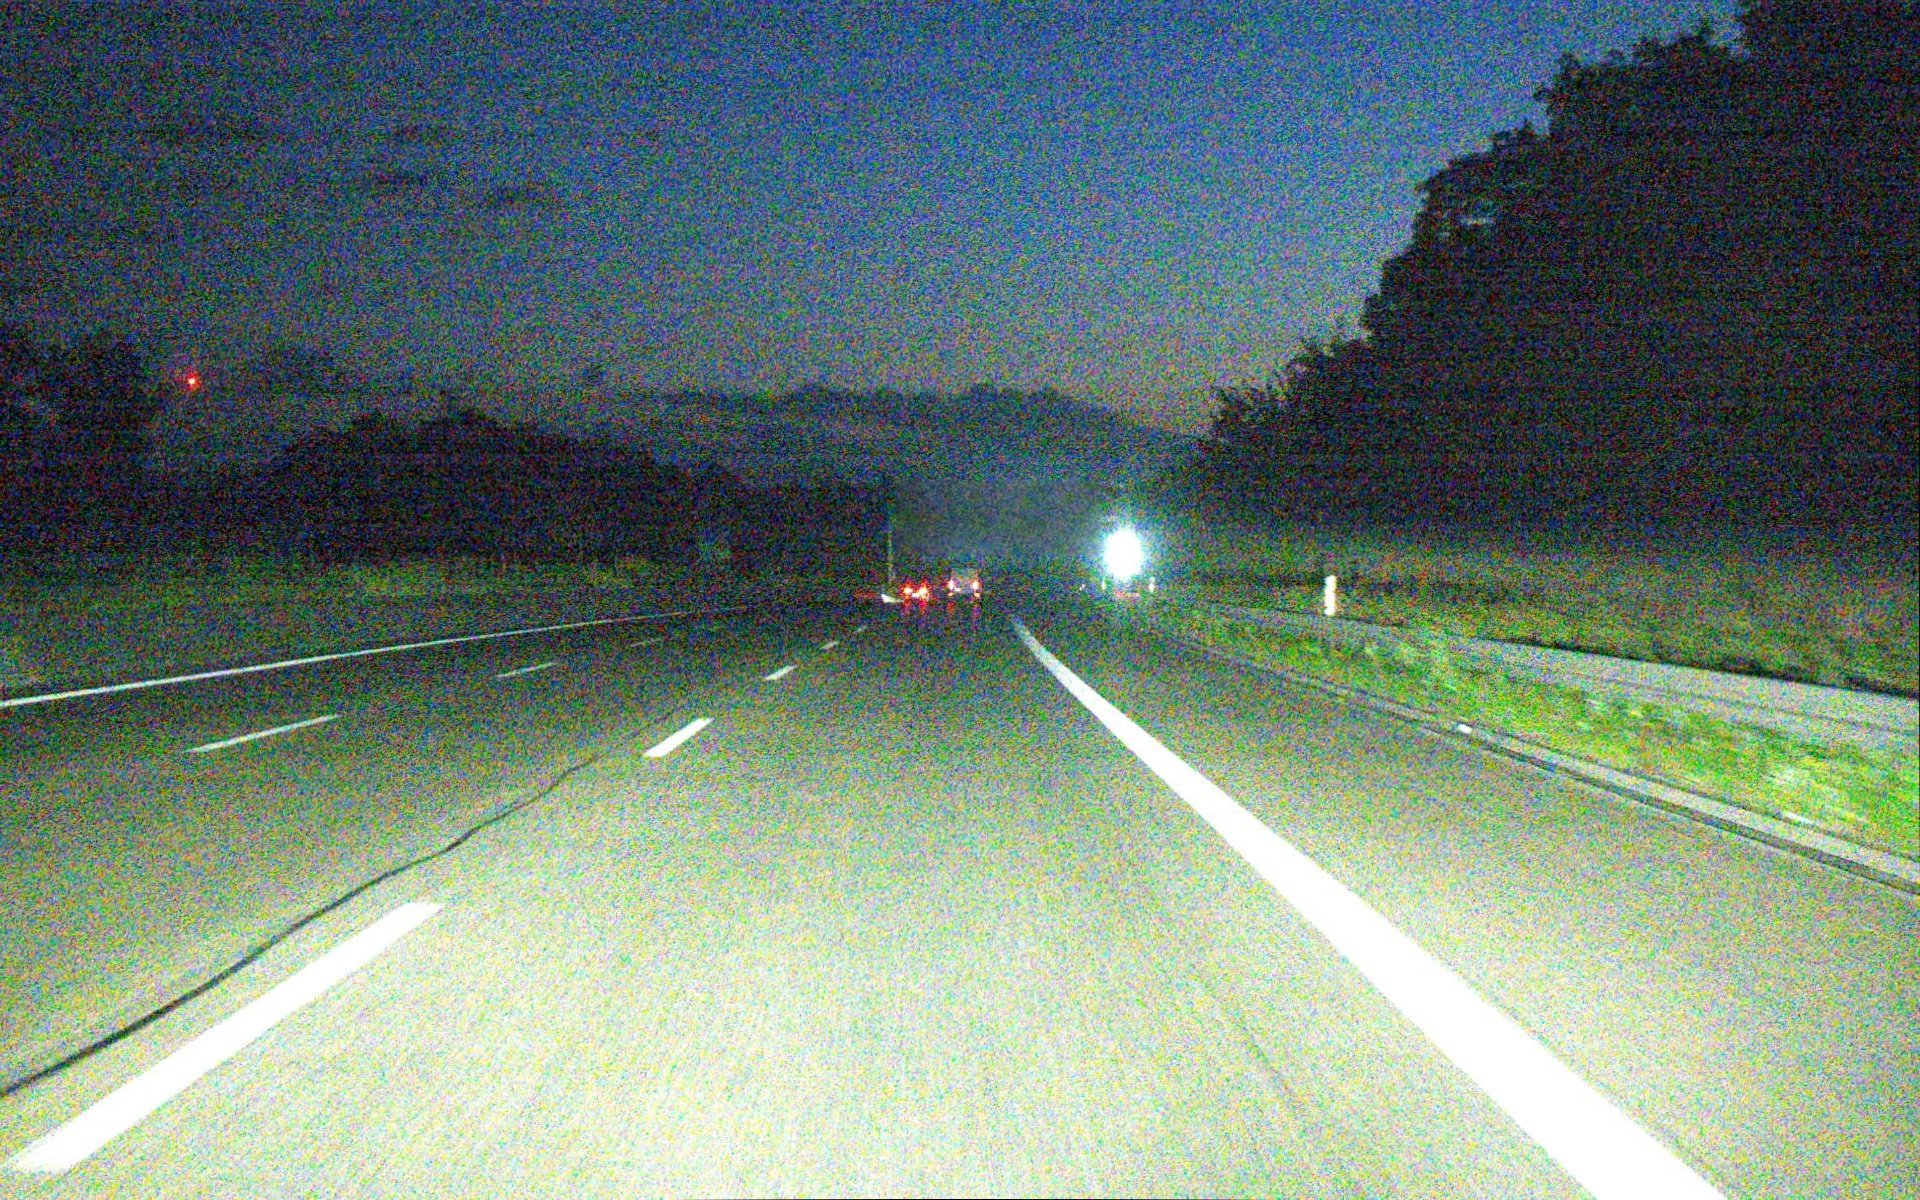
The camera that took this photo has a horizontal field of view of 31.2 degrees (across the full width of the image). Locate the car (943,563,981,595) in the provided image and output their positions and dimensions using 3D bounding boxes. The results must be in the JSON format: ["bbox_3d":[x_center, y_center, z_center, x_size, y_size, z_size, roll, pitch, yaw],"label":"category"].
[{"bbox_3d":[0.162,-1.526,257.331,2.511,2.306,4.969,0,-1,4],"label":"car"}]
